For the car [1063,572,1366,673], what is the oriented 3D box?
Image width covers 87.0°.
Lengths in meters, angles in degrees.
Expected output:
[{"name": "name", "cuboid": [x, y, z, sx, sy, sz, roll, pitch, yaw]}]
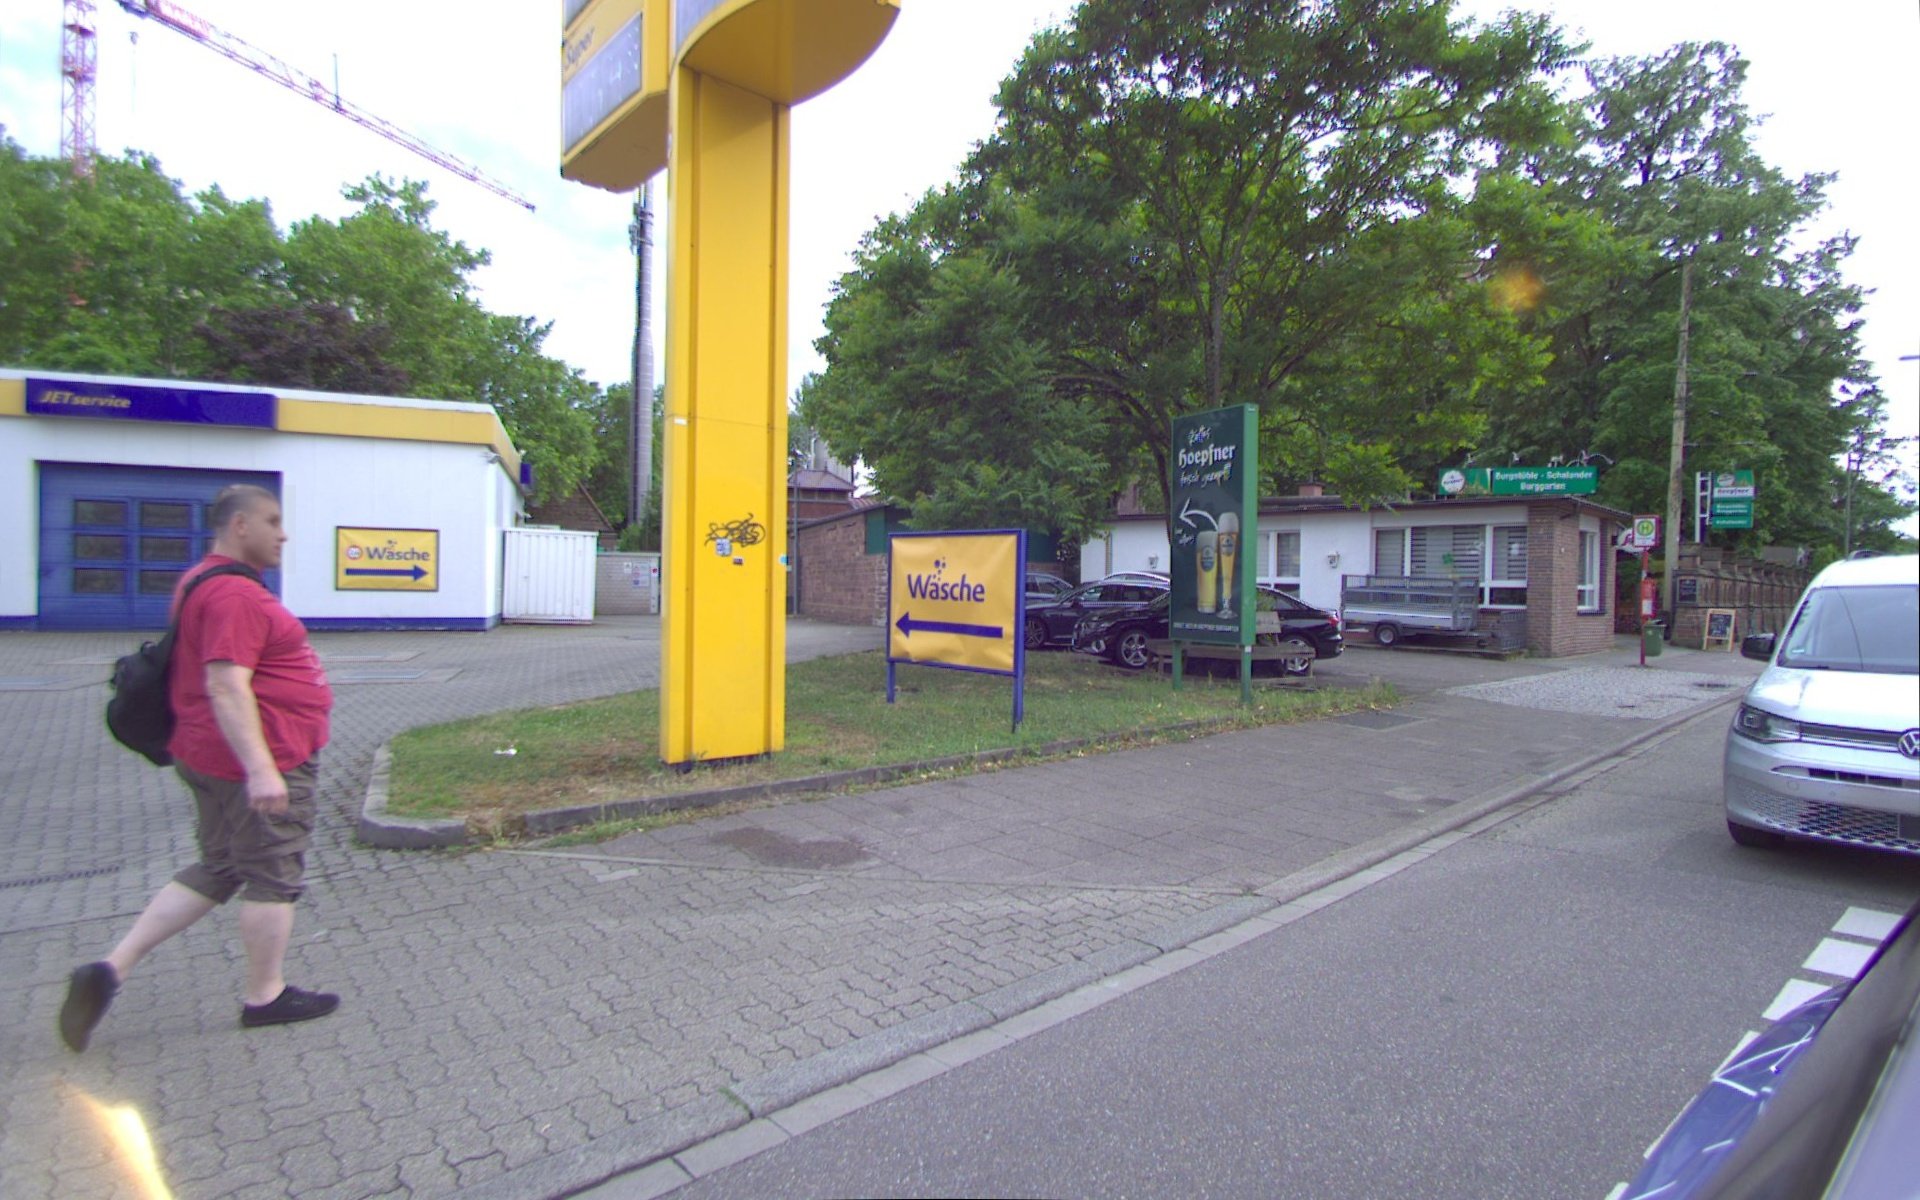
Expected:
[{"name": "car", "cuboid": [4.117, 0.335, 16.941, 4.497, 1.425, 1.936, 2, 1, 0]}]

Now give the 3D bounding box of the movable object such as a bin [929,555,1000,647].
[{"name": "movable object such as a bin", "cuboid": [0.055, 0.017, 18.485, 1.102, 1.533, 1.423, 5, 0, -3]}]

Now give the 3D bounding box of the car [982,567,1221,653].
[{"name": "car", "cuboid": [2.743, 0.161, 20.444, 4.453, 1.444, 1.880, 2, 3, -2]}]

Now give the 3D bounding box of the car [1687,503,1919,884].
[{"name": "car", "cuboid": [6.481, 0.465, 6.405, 4.848, 1.830, 1.850, 1, 1, -40]}]

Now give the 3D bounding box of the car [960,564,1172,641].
[{"name": "car", "cuboid": [2.314, 0.046, 22.883, 4.401, 1.477, 1.988, 2, 1, -5]}]

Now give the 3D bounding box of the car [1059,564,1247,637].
[{"name": "car", "cuboid": [4.753, -0.032, 25.422, 1.955, 1.667, 4.434, 0, 1, -39]}]

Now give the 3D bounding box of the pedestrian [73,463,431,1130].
[{"name": "pedestrian", "cuboid": [-2.320, 0.491, 3.295, 0.846, 1.759, 0.974, 0, 3, -41]}]

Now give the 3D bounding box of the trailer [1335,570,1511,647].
[{"name": "trailer", "cuboid": [10.190, 0.131, 22.386, 1.594, 1.558, 3.165, 0, 1, -43]}]
